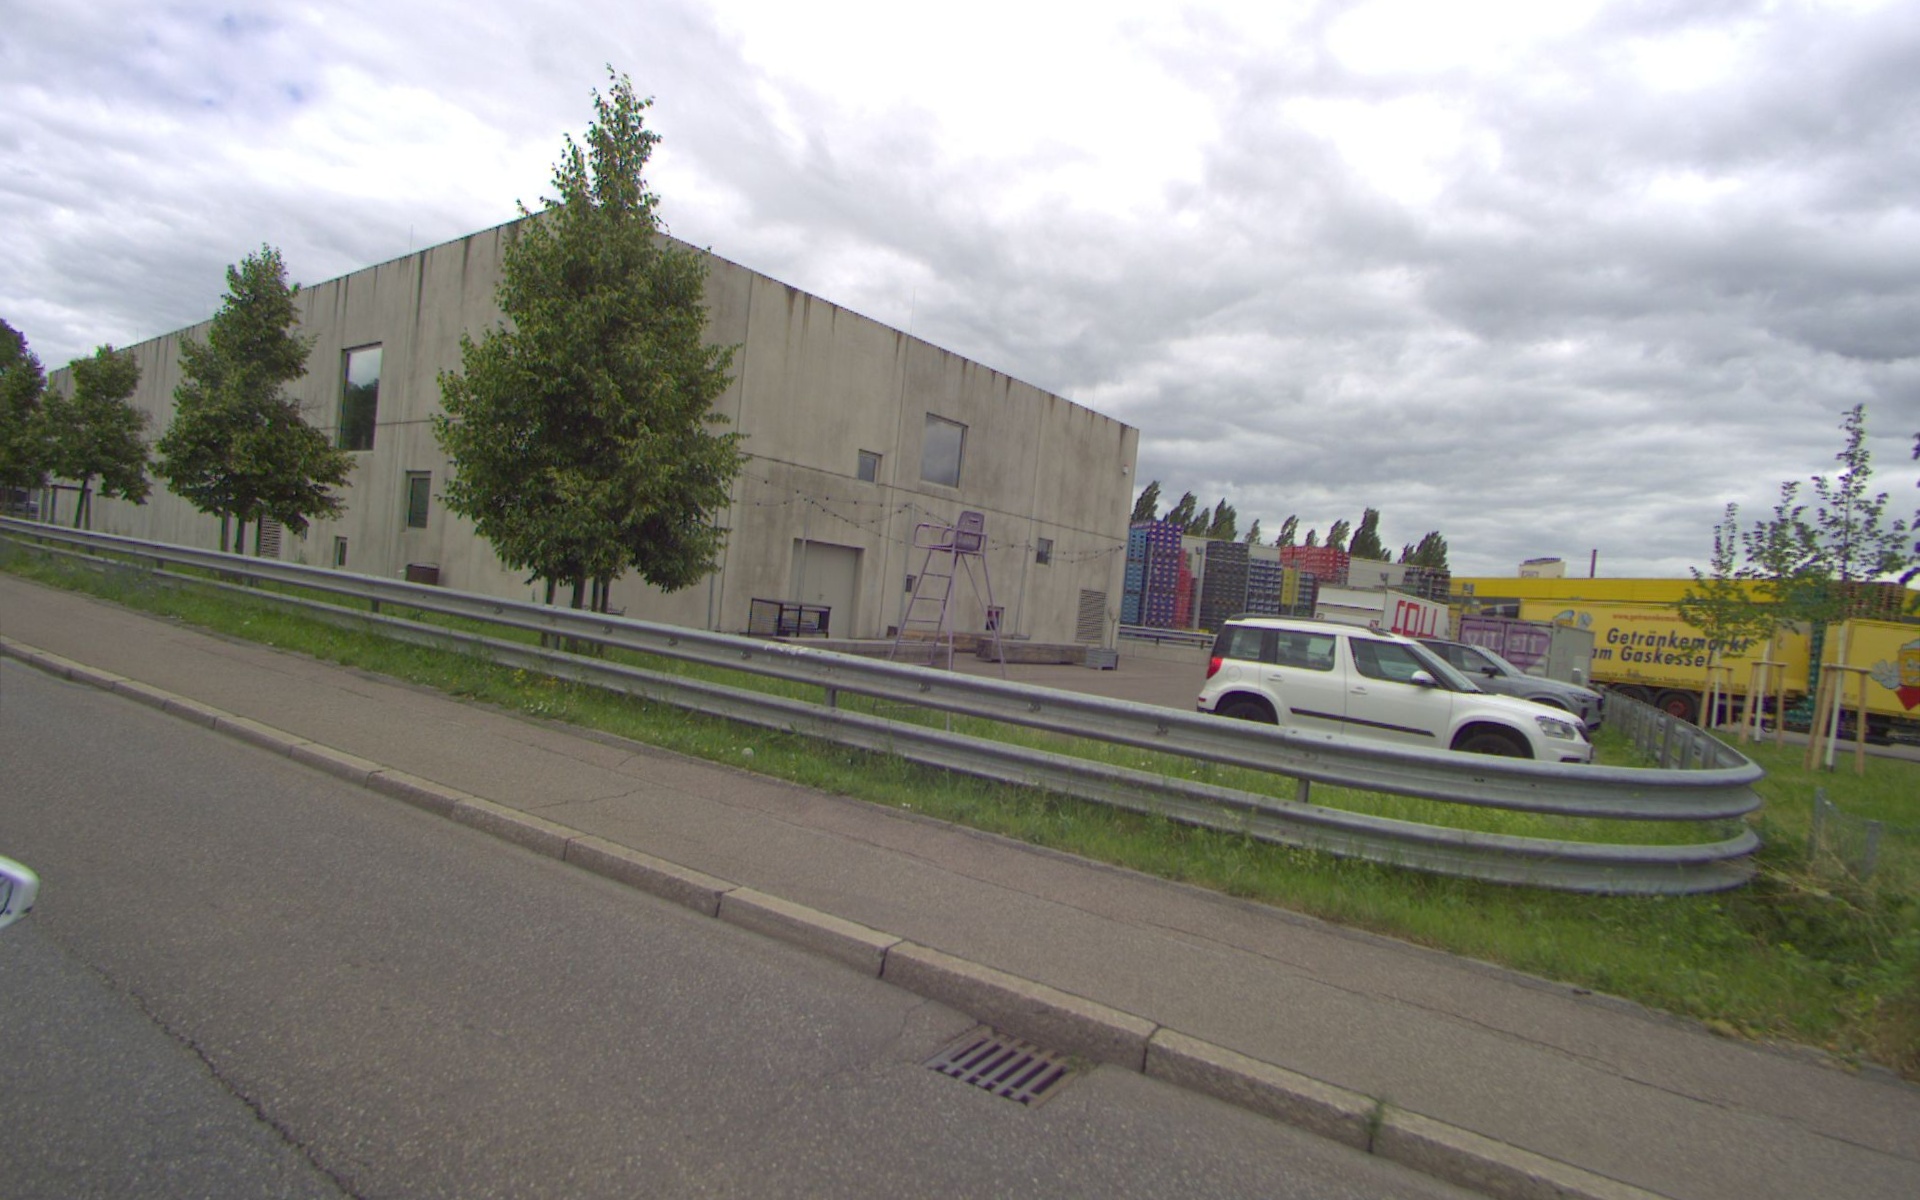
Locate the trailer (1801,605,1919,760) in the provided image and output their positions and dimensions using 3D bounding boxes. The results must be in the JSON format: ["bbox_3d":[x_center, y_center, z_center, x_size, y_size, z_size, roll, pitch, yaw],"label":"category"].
[{"bbox_3d":[29.695,2.738,28.238,8.550,4.125,2.941,8,2,31],"label":"trailer"}]

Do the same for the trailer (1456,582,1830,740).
[{"bbox_3d":[22.620,1.798,34.319,2.887,4.014,9.941,6,2,-30],"label":"trailer"}]

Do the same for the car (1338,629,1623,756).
[{"bbox_3d":[10.175,1.724,19.839,4.616,1.742,1.911,7,1,36],"label":"car"}]

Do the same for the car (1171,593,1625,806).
[{"bbox_3d":[4.874,1.016,11.487,4.358,1.593,1.751,7,-1,33],"label":"car"}]

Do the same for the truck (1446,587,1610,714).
[{"bbox_3d":[17.537,1.678,30.785,2.588,3.072,7.738,6,-3,42],"label":"truck"}]

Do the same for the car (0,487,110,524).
[{"bbox_3d":[-52.192,-5.398,57.887,2.120,1.568,4.519,5,0,17],"label":"car"}]

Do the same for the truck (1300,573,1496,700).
[{"bbox_3d":[13.868,1.235,31.502,7.719,3.072,2.324,9,-2,-41],"label":"truck"}]
